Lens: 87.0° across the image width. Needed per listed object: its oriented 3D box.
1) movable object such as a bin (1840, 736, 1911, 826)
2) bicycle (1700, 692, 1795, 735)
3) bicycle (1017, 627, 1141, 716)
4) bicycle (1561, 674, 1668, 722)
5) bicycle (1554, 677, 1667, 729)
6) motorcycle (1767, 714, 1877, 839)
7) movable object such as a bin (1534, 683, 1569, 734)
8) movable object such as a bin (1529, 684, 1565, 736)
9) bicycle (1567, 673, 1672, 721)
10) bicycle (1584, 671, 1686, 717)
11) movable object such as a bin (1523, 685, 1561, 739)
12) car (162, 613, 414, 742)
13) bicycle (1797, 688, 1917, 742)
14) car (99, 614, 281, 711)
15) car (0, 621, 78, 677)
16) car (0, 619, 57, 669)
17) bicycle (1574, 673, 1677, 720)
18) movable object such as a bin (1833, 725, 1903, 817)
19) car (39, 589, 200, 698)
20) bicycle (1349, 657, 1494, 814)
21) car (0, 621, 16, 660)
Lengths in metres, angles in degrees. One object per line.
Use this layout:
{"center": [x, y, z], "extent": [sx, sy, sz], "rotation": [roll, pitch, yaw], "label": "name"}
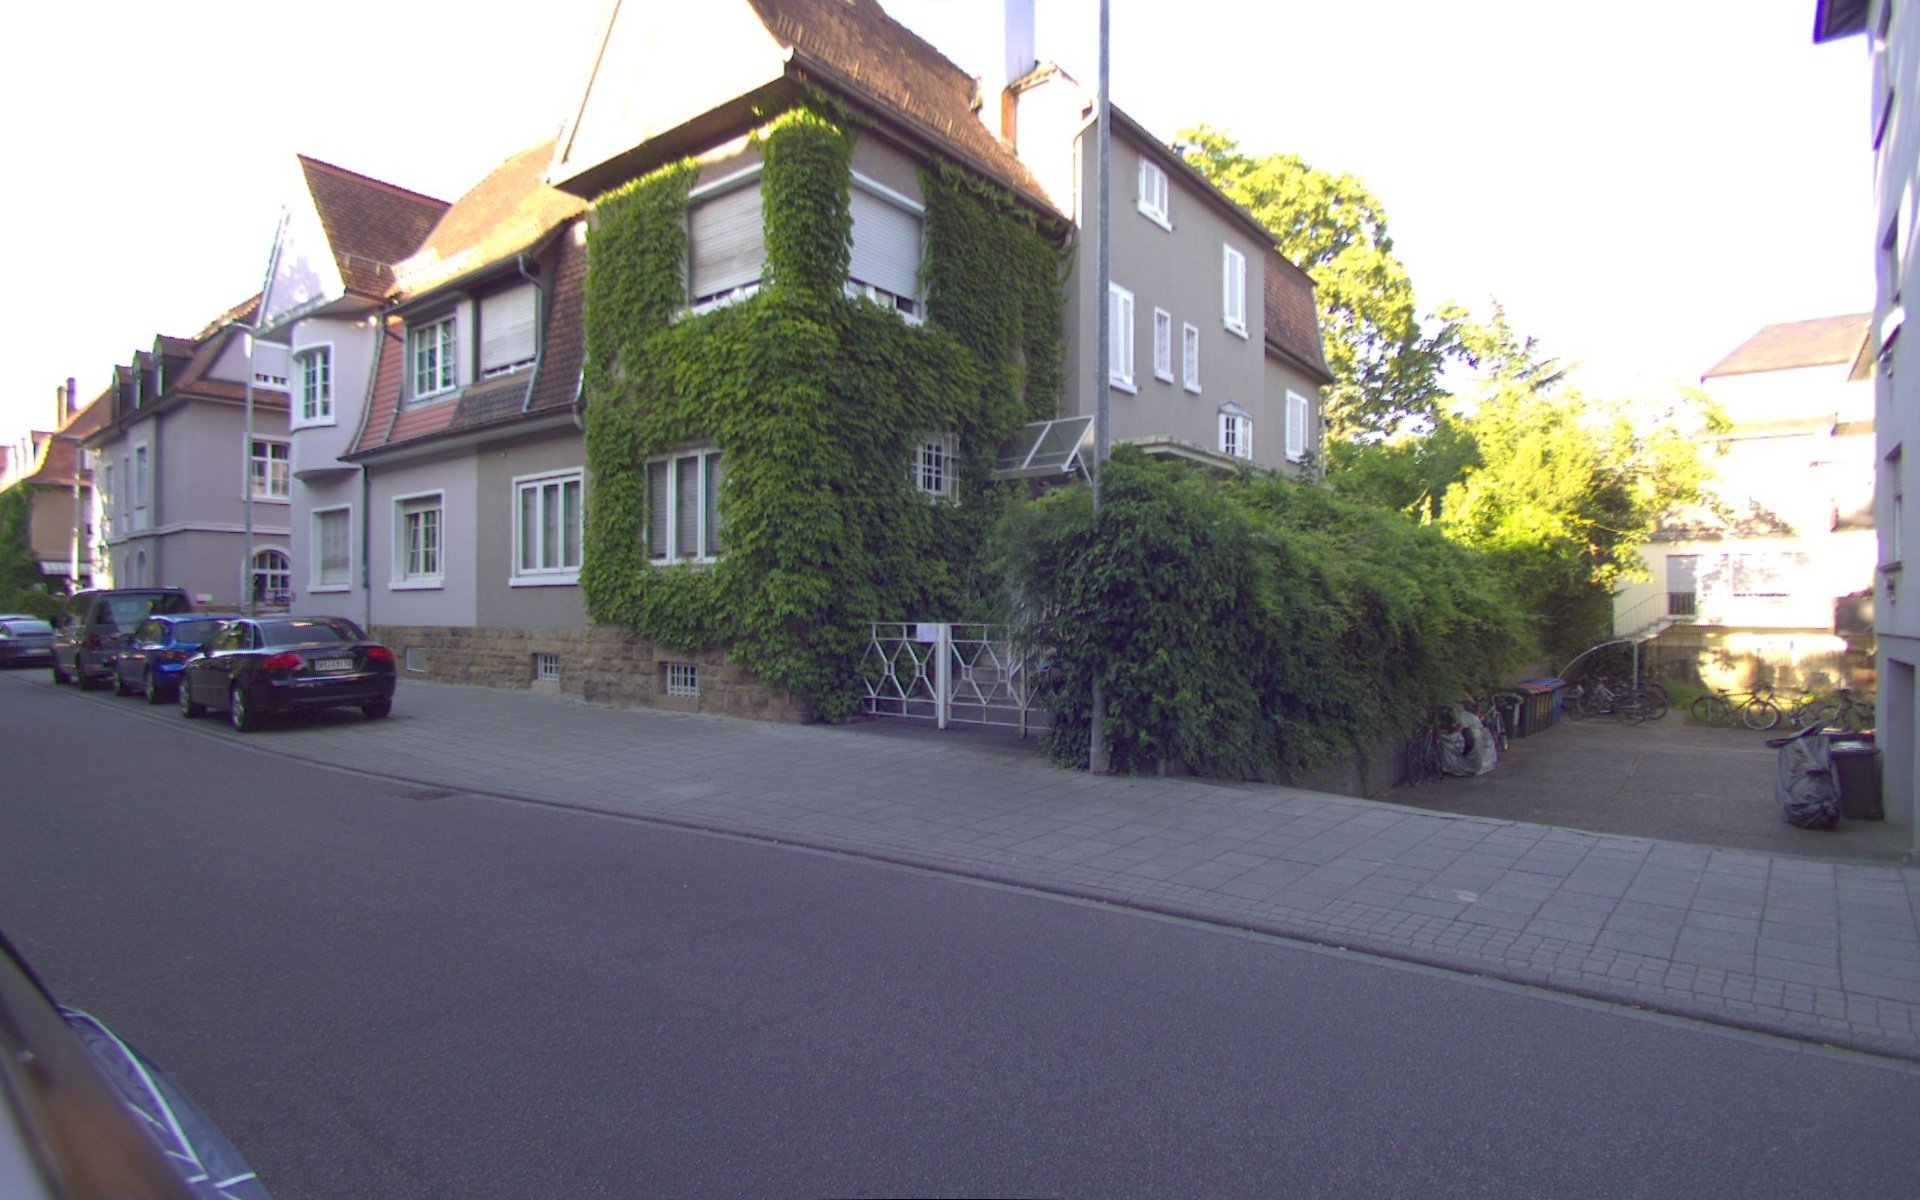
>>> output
{"center": [11.714, 2.299, 12.966], "extent": [0.611, 1.045, 0.532], "rotation": [-1, -4, 37], "label": "movable object such as a bin"}
{"center": [18.892, 2.709, 24.299], "extent": [1.754, 0.886, 0.558], "rotation": [-1, -4, 42], "label": "bicycle"}
{"center": [1.707, 0.960, 14.180], "extent": [0.476, 1.111, 2.172], "rotation": [-1, -1, 45], "label": "bicycle"}
{"center": [17.503, 2.606, 27.110], "extent": [2.338, 1.142, 0.685], "rotation": [-1, -4, 42], "label": "bicycle"}
{"center": [16.239, 2.556, 25.302], "extent": [2.294, 1.142, 0.685], "rotation": [-1, -4, 42], "label": "bicycle"}
{"center": [10.705, 2.143, 12.625], "extent": [0.742, 1.305, 1.565], "rotation": [-1, -2, 30], "label": "motorcycle"}
{"center": [13.647, 2.492, 23.347], "extent": [0.611, 1.123, 0.792], "rotation": [-1, -4, 37], "label": "movable object such as a bin"}
{"center": [13.176, 2.458, 22.716], "extent": [0.611, 1.123, 0.792], "rotation": [-1, -4, 37], "label": "movable object such as a bin"}
{"center": [18.055, 2.637, 27.762], "extent": [2.338, 1.186, 0.685], "rotation": [-1, -4, 42], "label": "bicycle"}
{"center": [19.199, 2.651, 28.828], "extent": [2.338, 1.186, 0.685], "rotation": [-1, -4, 42], "label": "bicycle"}
{"center": [12.700, 2.421, 22.073], "extent": [0.611, 1.123, 0.792], "rotation": [-1, -4, 37], "label": "movable object such as a bin"}
{"center": [-9.410, 0.945, 14.026], "extent": [4.426, 1.457, 1.783], "rotation": [-1, 1, 41], "label": "car"}
{"center": [20.369, 2.582, 23.025], "extent": [2.005, 1.080, 0.558], "rotation": [-1, -4, 42], "label": "bicycle"}
{"center": [-13.639, 1.023, 17.849], "extent": [4.060, 1.457, 1.745], "rotation": [-1, 1, 41], "label": "car"}
{"center": [-26.160, 1.325, 28.301], "extent": [4.063, 1.394, 1.906], "rotation": [-1, 1, 44], "label": "car"}
{"center": [-30.174, 1.362, 32.035], "extent": [4.061, 1.478, 1.907], "rotation": [-1, 1, 42], "label": "car"}
{"center": [18.613, 2.671, 28.330], "extent": [2.338, 1.186, 0.685], "rotation": [-1, -4, 42], "label": "bicycle"}
{"center": [12.296, 2.296, 13.728], "extent": [0.611, 1.123, 0.792], "rotation": [-1, -4, 37], "label": "movable object such as a bin"}
{"center": [-17.527, 0.834, 21.019], "extent": [4.610, 1.990, 1.819], "rotation": [-1, 0, 41], "label": "car"}
{"center": [6.822, 1.816, 14.754], "extent": [0.971, 1.907, 4.138], "rotation": [-1, -3, 38], "label": "bicycle"}
{"center": [-36.325, 1.515, 37.513], "extent": [3.676, 1.372, 1.641], "rotation": [-1, 1, 42], "label": "car"}
